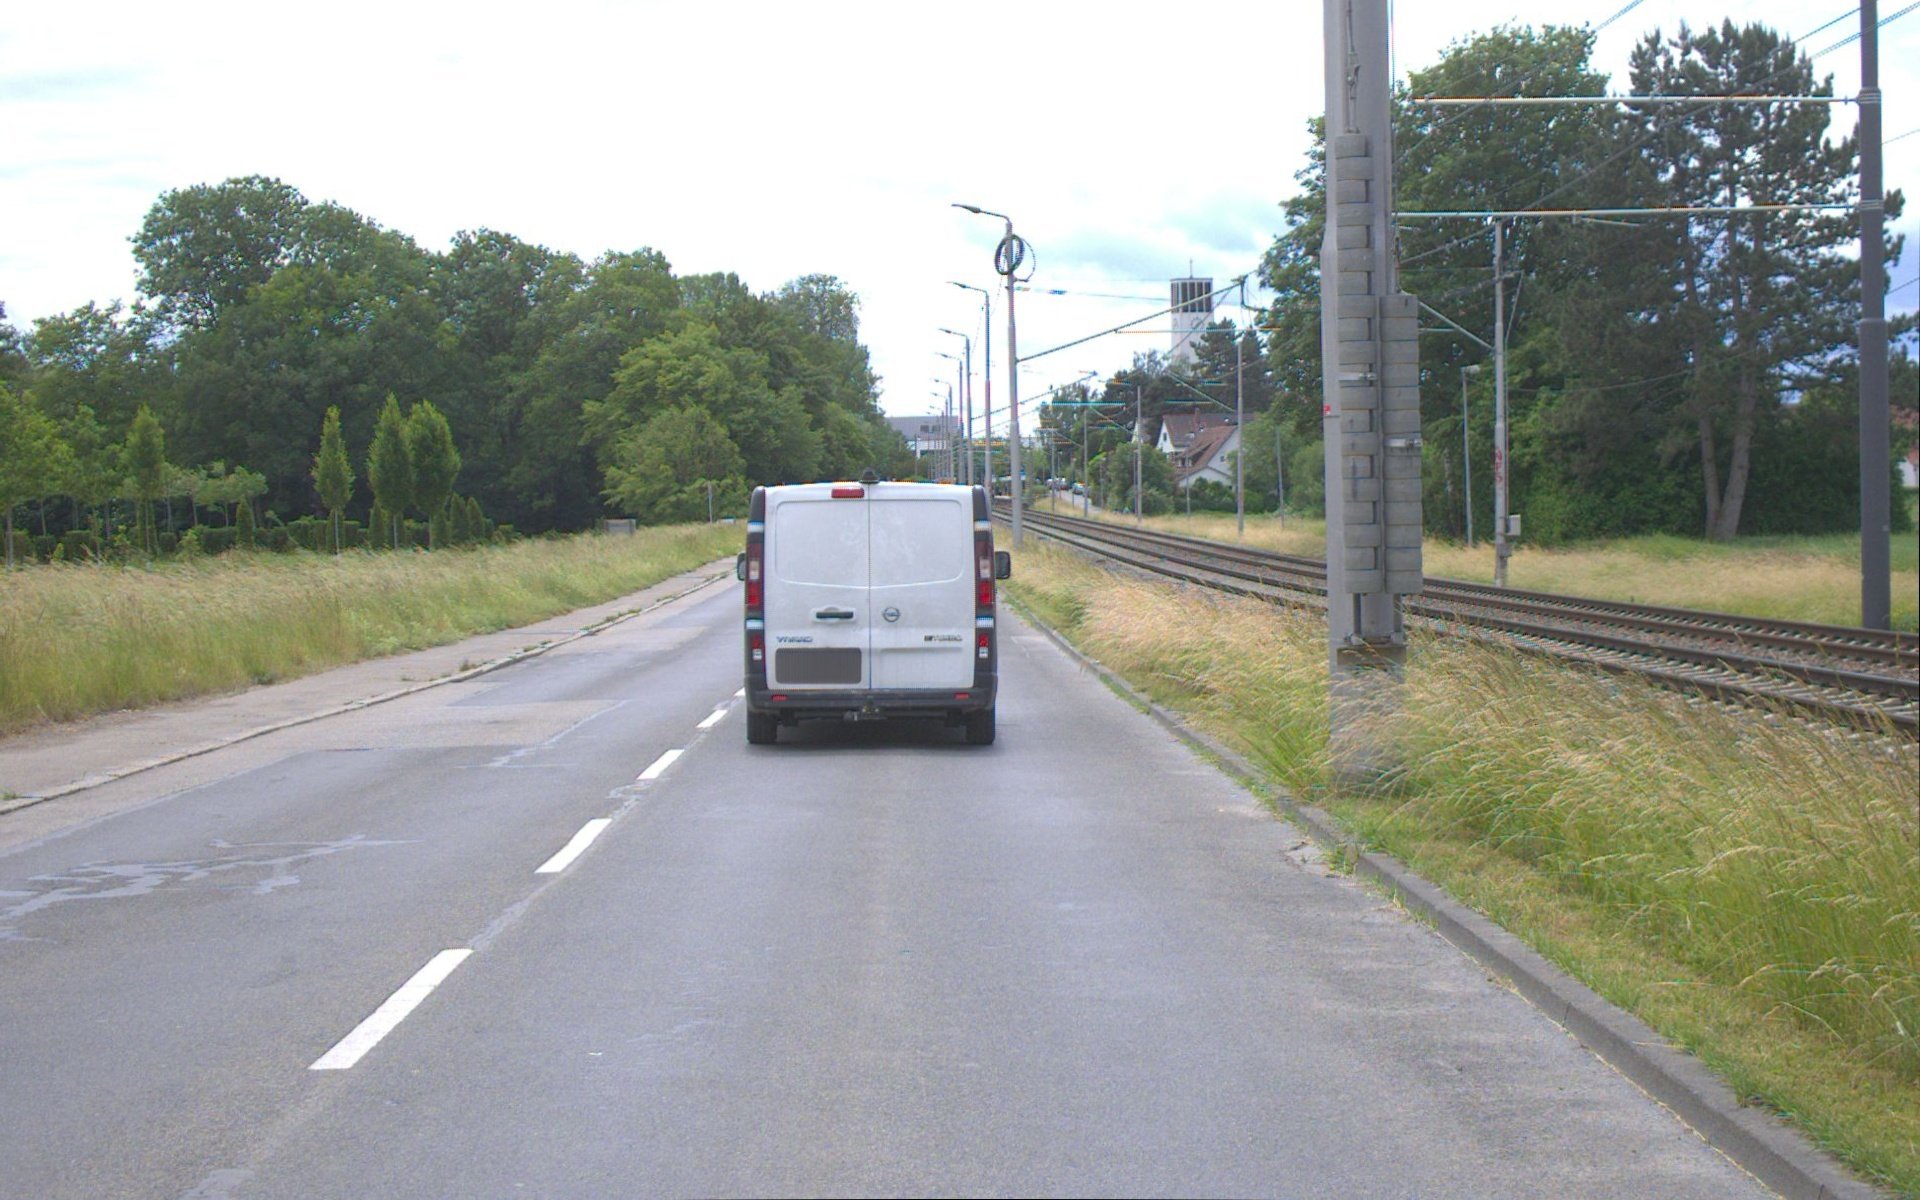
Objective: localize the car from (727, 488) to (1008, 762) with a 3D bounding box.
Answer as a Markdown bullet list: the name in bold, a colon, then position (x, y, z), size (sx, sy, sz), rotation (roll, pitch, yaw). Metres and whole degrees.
- **car**: position (-0.718, 0.146, 26.454), size (1.993, 1.950, 4.000), rotation (0, 1, -2)
